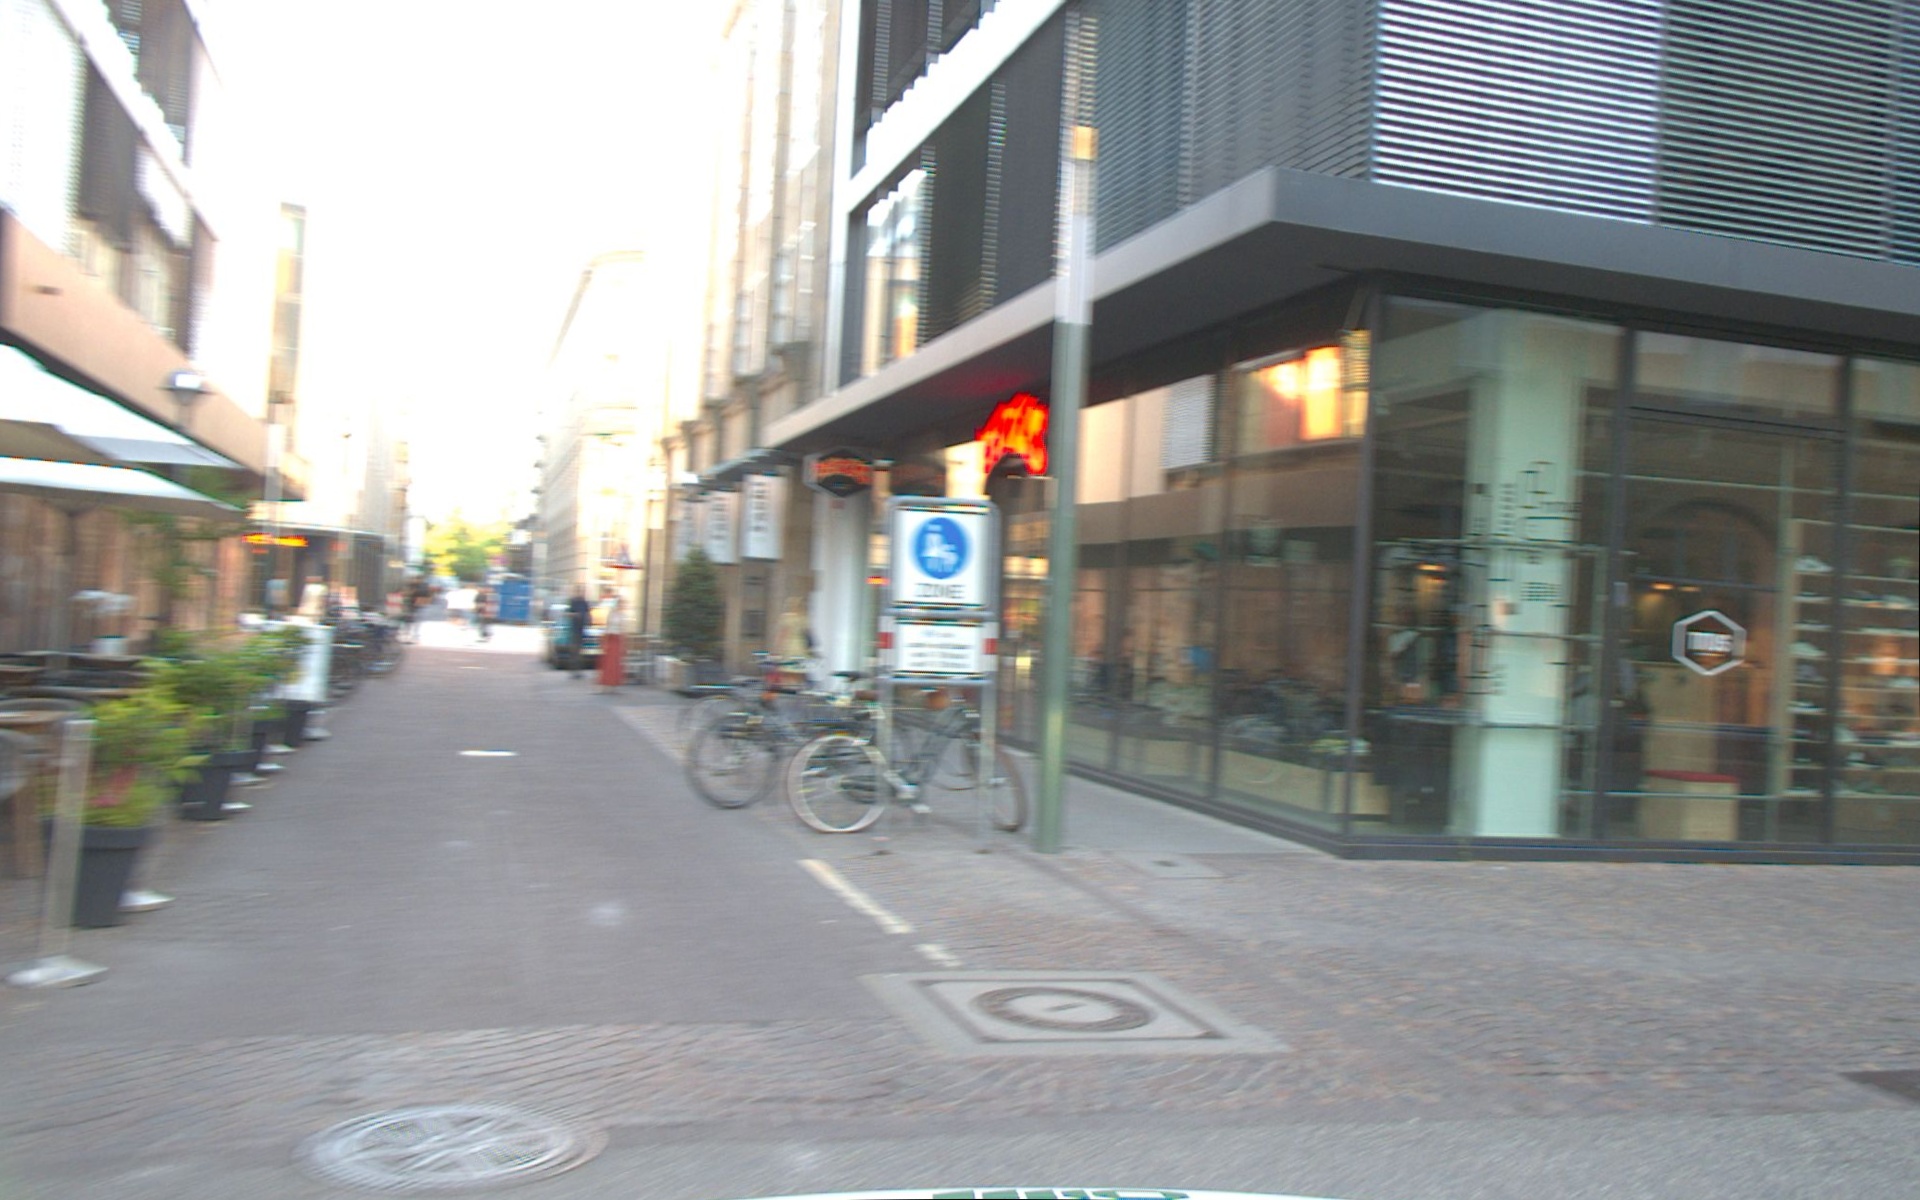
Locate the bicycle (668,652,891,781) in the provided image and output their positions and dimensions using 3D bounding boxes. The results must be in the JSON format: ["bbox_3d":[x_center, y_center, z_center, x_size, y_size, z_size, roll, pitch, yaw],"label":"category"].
[{"bbox_3d":[-1.666,1.059,15.316,2.002,1.141,0.465,1,0,-18],"label":"bicycle"}]

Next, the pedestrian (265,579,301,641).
[{"bbox_3d":[-21.278,0.322,51.982,0.890,1.892,0.832,3,-1,-17],"label":"pedestrian"}]

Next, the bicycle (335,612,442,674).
[{"bbox_3d":[-11.999,0.909,34.795,2.016,1.114,0.465,5,-2,-18],"label":"bicycle"}]

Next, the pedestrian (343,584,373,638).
[{"bbox_3d":[-21.439,0.396,58.909,0.890,1.892,0.832,3,-1,-17],"label":"pedestrian"}]

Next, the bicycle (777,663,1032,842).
[{"bbox_3d":[-0.377,1.021,11.319,1.670,1.156,0.465,1,0,-18],"label":"bicycle"}]

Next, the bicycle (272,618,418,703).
[{"bbox_3d":[-9.087,0.895,24.513,1.917,1.093,0.465,5,-2,-18],"label":"bicycle"}]

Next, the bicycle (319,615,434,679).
[{"bbox_3d":[-11.382,0.916,32.337,2.016,1.068,0.465,5,-2,-18],"label":"bicycle"}]

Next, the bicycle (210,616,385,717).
[{"bbox_3d":[-8.259,0.837,20.685,1.917,1.093,0.465,5,-2,-18],"label":"bicycle"}]

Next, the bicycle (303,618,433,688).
[{"bbox_3d":[-10.190,0.922,28.530,2.016,1.034,0.465,5,-2,-18],"label":"bicycle"}]

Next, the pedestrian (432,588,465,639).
[{"bbox_3d":[-18.203,0.483,58.838,0.844,1.764,0.933,3,-1,-4],"label":"pedestrian"}]

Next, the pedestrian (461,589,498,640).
[{"bbox_3d":[-17.148,0.521,59.026,0.989,1.764,0.980,3,-1,-4],"label":"pedestrian"}]

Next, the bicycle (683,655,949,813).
[{"bbox_3d":[-1.101,1.006,12.696,1.978,1.141,0.465,1,0,-18],"label":"bicycle"}]

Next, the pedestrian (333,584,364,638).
[{"bbox_3d":[-22.005,0.384,59.550,0.890,1.892,0.832,3,-1,-17],"label":"pedestrian"}]

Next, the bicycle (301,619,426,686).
[{"bbox_3d":[-10.665,0.939,29.633,2.016,1.034,0.465,5,-2,-18],"label":"bicycle"}]

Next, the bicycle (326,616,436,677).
[{"bbox_3d":[-11.744,0.940,33.609,2.016,1.068,0.465,5,-2,-18],"label":"bicycle"}]

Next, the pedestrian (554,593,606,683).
[{"bbox_3d":[-7.404,0.739,32.216,0.884,1.690,0.926,3,-1,-16],"label":"pedestrian"}]

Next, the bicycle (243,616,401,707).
[{"bbox_3d":[-8.765,0.852,22.779,1.917,1.093,0.465,5,-2,-18],"label":"bicycle"}]

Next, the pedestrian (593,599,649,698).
[{"bbox_3d":[-5.631,0.792,27.472,0.784,1.593,0.855,3,-1,-16],"label":"pedestrian"}]

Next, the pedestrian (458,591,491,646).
[{"bbox_3d":[-15.286,0.574,52.107,0.891,1.690,0.789,3,-1,-19],"label":"pedestrian"}]

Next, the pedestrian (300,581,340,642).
[{"bbox_3d":[-20.488,0.359,52.963,1.009,1.892,0.902,3,-1,-17],"label":"pedestrian"}]

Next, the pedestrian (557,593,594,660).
[{"bbox_3d":[-11.189,0.756,48.147,0.890,1.892,0.831,3,-1,-18],"label":"pedestrian"}]

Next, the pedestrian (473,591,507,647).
[{"bbox_3d":[-14.645,0.592,51.523,0.891,1.690,0.789,3,-1,-19],"label":"pedestrian"}]

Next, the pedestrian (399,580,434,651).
[{"bbox_3d":[-14.791,0.421,45.018,0.820,1.892,0.902,3,-1,-18],"label":"pedestrian"}]

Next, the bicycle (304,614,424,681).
[{"bbox_3d":[-11.166,0.893,31.065,2.016,1.068,0.465,5,-2,-18],"label":"bicycle"}]

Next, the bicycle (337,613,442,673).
[{"bbox_3d":[-12.211,0.921,35.441,2.016,1.114,0.465,5,-2,-18],"label":"bicycle"}]

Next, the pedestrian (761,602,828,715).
[{"bbox_3d":[-2.414,0.839,24.052,0.784,1.593,0.856,3,-1,-14],"label":"pedestrian"}]

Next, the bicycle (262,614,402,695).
[{"bbox_3d":[-9.674,0.844,25.537,1.917,1.093,0.465,5,-2,-18],"label":"bicycle"}]

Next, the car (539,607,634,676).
[{"bbox_3d":[-8.809,0.940,38.785,1.728,1.466,3.906,2,-1,-19],"label":"car"}]

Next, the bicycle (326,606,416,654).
[{"bbox_3d":[-14.630,0.745,41.138,2.016,1.031,0.465,5,-2,-18],"label":"bicycle"}]
